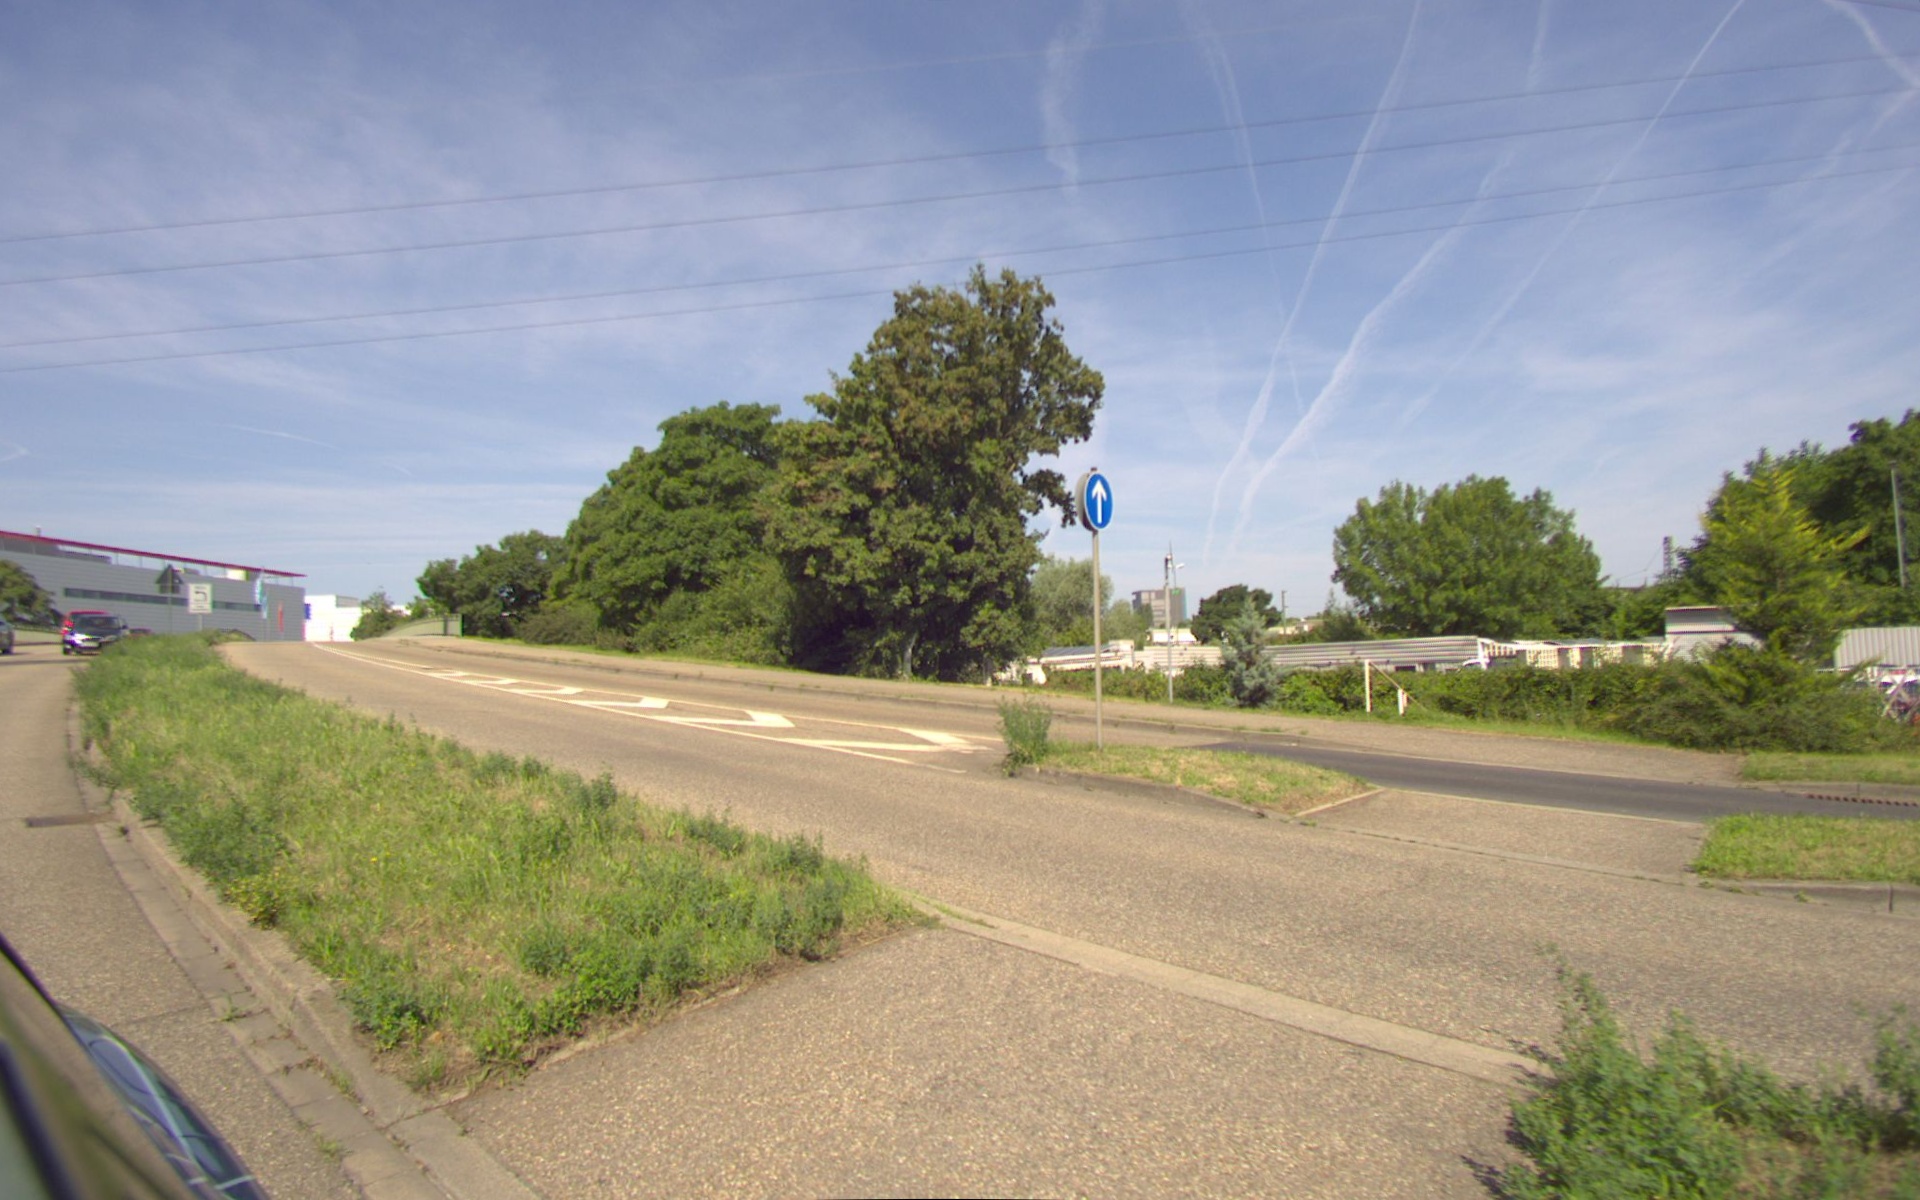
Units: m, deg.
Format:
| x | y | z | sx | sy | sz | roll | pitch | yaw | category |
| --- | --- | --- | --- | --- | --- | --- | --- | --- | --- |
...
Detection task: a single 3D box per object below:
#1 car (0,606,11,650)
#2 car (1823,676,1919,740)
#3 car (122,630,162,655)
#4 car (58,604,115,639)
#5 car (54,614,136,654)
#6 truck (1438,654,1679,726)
| x | y | z | sx | sy | sz | roll | pitch | yaw | category |
| --- | --- | --- | --- | --- | --- | --- | --- | --- | --- |
| -34.229 | 0.985 | 34.739 | 1.831 | 1.541 | 4.154 | 0 | -1 | -35 | car |
| 22.032 | 2.436 | 23.186 | 3.131 | 1.303 | 1.601 | -2 | -4 | -6 | car |
| -58.396 | 3.050 | 72.268 | 1.749 | 1.671 | 4.155 | 3 | -5 | -33 | car |
| -48.933 | 1.189 | 56.779 | 1.956 | 1.921 | 4.155 | 0 | -1 | -34 | car |
| -32.570 | 1.268 | 38.230 | 1.820 | 1.429 | 4.011 | 1 | -2 | -33 | car |
| 19.824 | 3.000 | 33.896 | 2.454 | 2.130 | 6.386 | 1 | -5 | -35 | truck |
